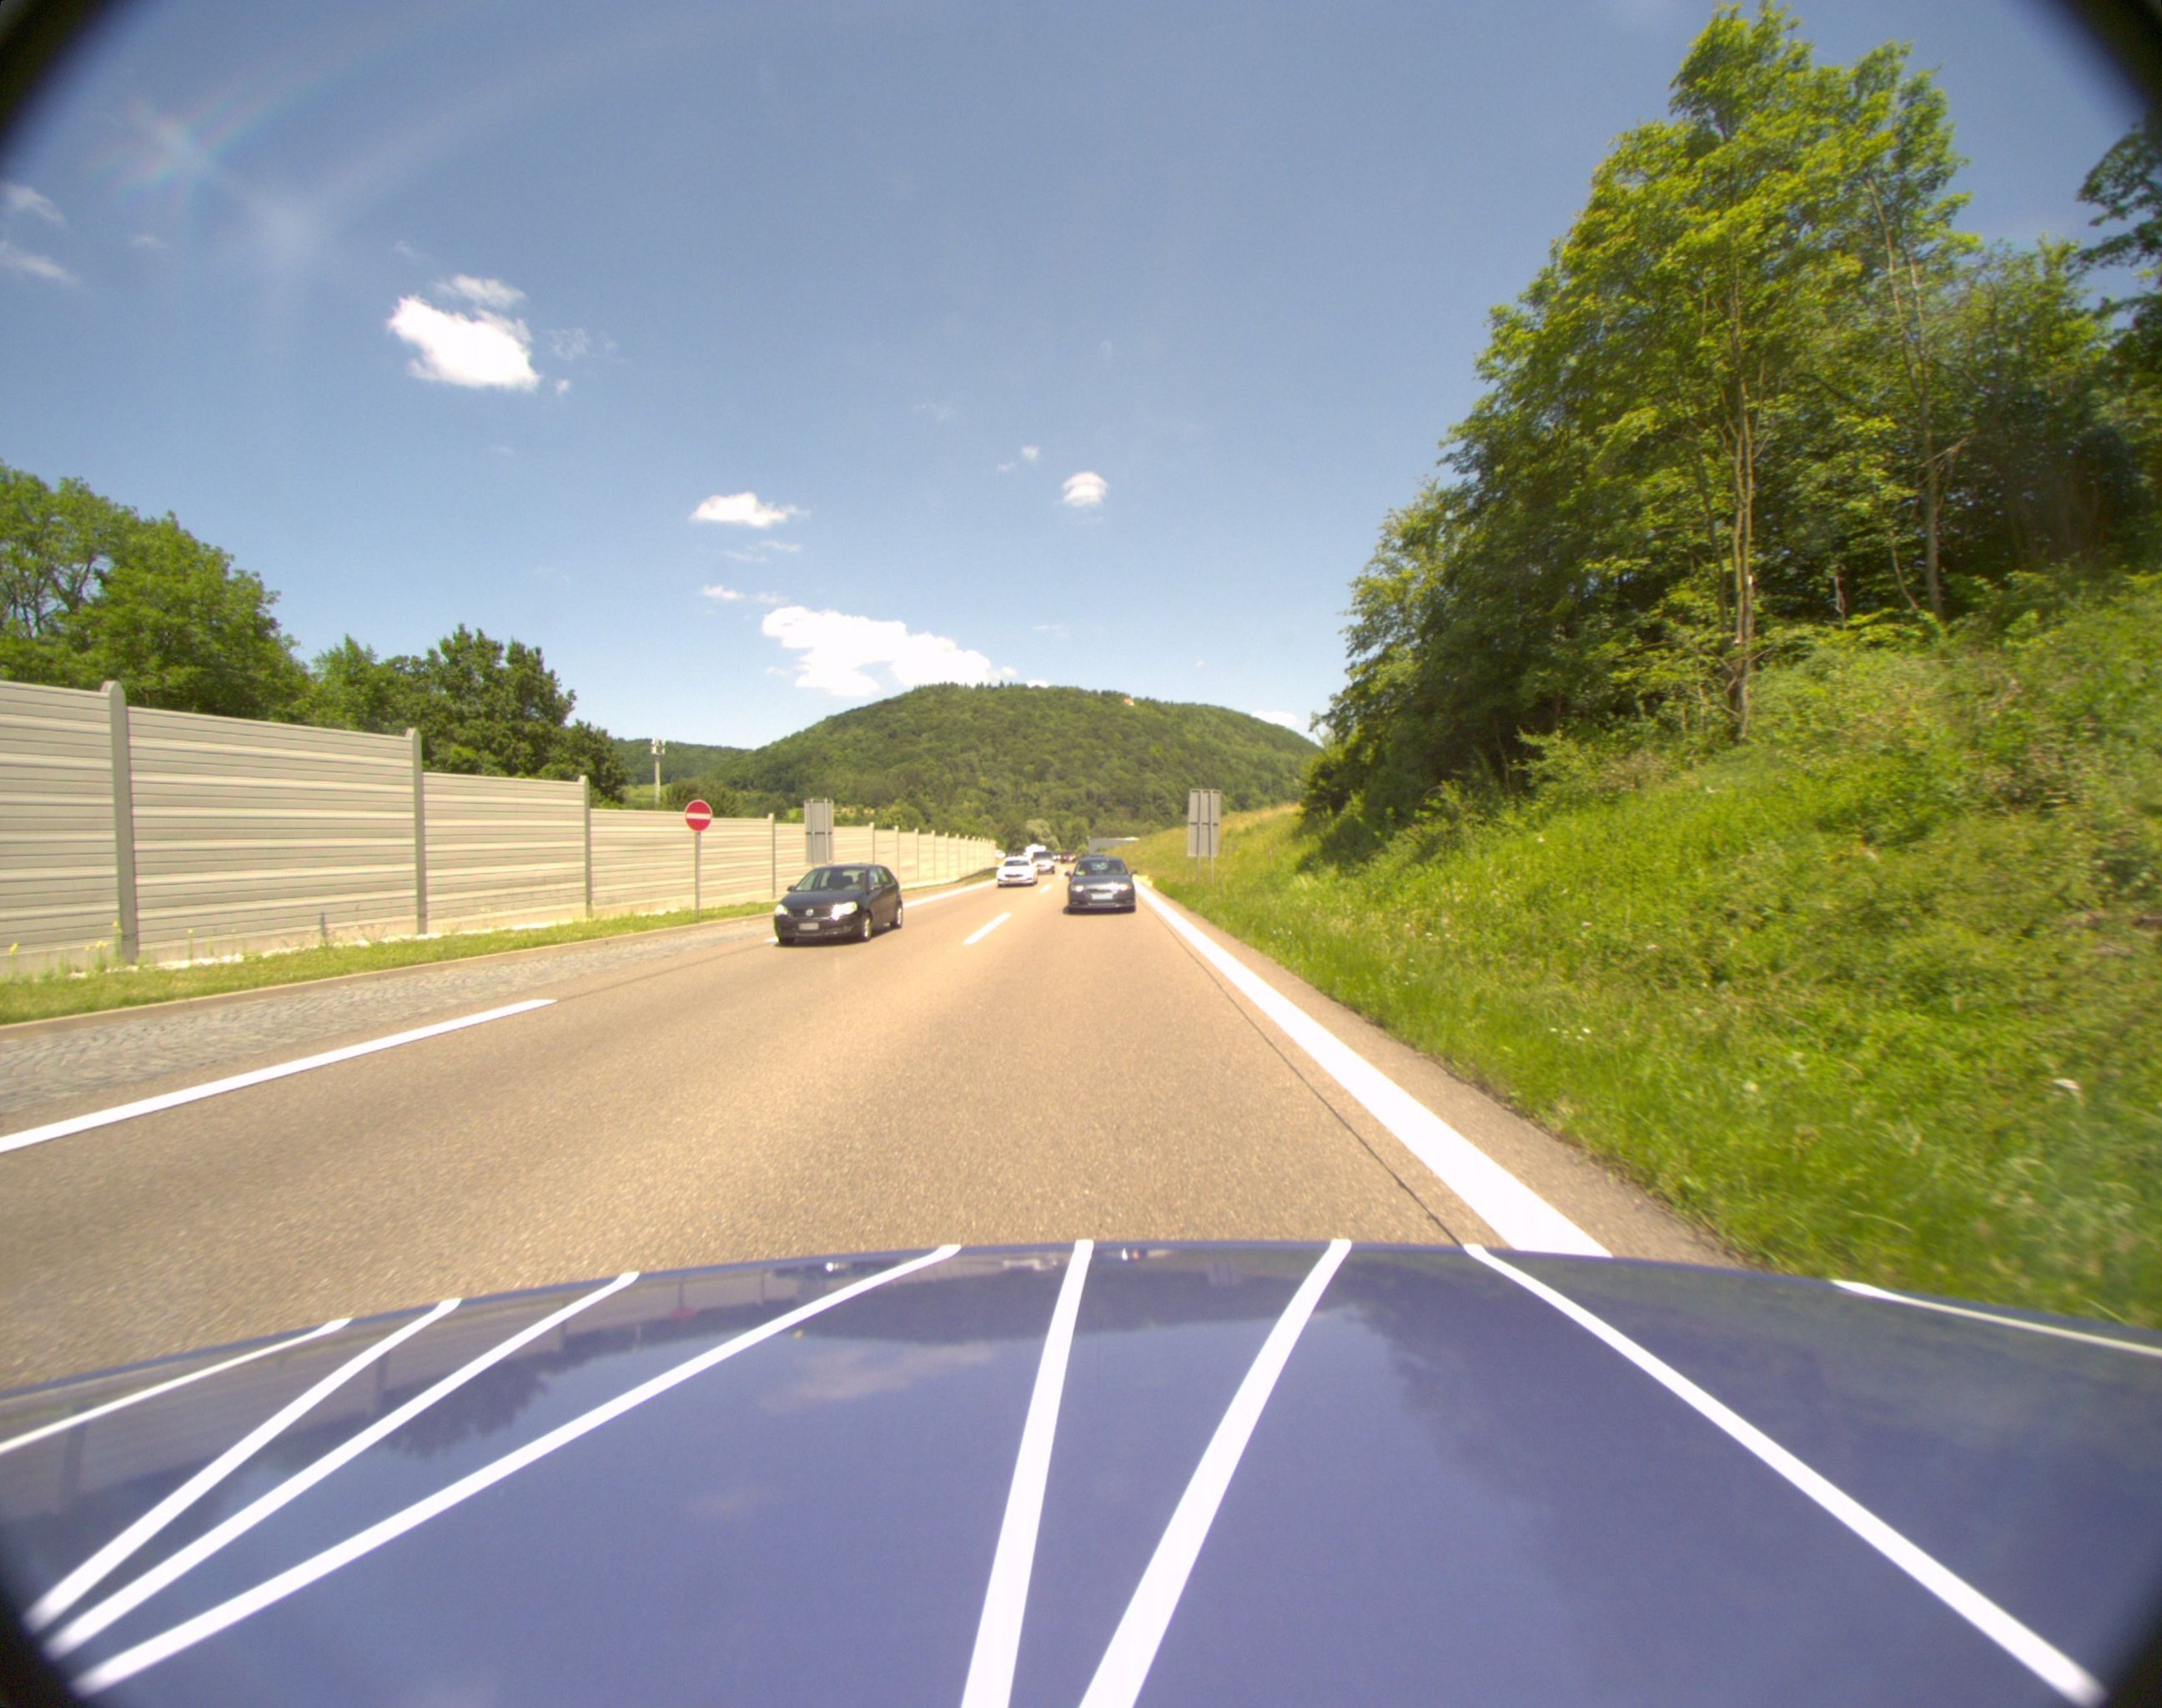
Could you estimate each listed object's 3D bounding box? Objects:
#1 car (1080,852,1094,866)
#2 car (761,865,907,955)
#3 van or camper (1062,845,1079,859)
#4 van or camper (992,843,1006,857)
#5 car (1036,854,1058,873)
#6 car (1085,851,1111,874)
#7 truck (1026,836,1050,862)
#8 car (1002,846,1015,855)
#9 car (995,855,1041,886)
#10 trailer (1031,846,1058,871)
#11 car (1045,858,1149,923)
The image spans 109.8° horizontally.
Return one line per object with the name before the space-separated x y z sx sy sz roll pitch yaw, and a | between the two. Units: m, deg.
car | 0.605 0.489 75.755 1.286 1.306 3.452 -2 1 2
car | -4.745 1.008 15.150 1.696 1.414 3.837 -2 1 -1
van or camper | -1.500 -0.248 104.355 1.818 1.856 3.610 -3 1 -8
van or camper | -17.665 -0.824 163.454 1.912 3.010 4.866 -3 1 -21
car | -2.586 0.701 58.067 1.488 1.375 3.738 -1 0 1
car | 1.169 0.547 52.126 1.695 1.422 3.463 -2 1 2
truck | -5.685 -0.617 99.433 2.603 3.089 6.854 -5 1 -5
car | -16.791 -0.795 176.426 2.001 2.002 3.993 -3 1 -19
car | -3.114 0.787 38.353 1.907 1.422 3.722 -1 0 1
trailer | -2.970 0.331 61.769 1.999 1.959 3.997 -1 2 -5
car | 0.277 0.818 19.112 1.757 1.382 4.051 -3 0 -11
